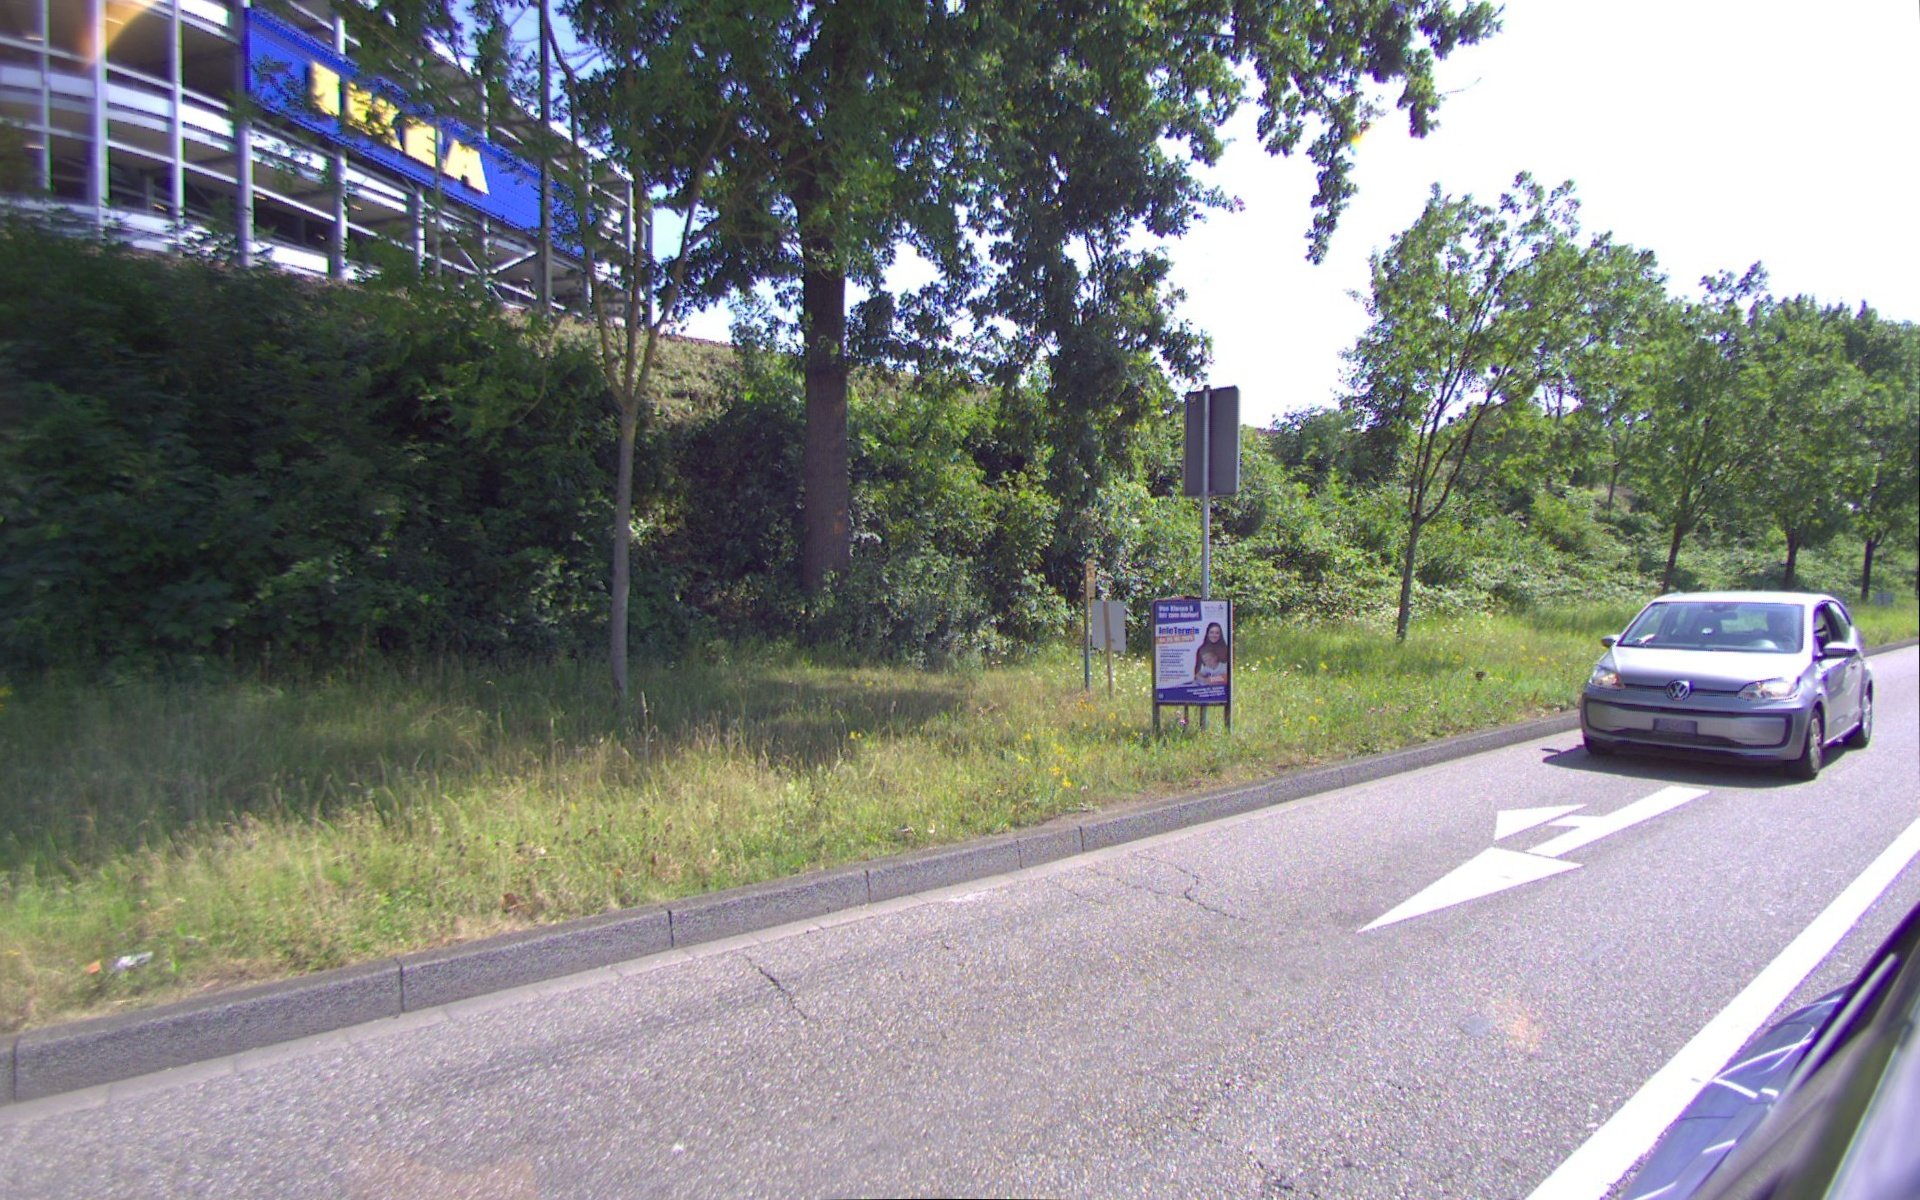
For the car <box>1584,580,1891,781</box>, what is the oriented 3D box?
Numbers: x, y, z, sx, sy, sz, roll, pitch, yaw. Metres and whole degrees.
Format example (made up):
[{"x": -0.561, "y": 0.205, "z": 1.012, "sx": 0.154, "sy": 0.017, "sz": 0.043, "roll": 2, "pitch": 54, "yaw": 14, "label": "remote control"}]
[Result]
[{"x": 7.211, "y": 0.565, "z": 9.260, "sx": 3.617, "sy": 1.455, "sz": 1.702, "roll": -1, "pitch": 1, "yaw": -44, "label": "car"}]
